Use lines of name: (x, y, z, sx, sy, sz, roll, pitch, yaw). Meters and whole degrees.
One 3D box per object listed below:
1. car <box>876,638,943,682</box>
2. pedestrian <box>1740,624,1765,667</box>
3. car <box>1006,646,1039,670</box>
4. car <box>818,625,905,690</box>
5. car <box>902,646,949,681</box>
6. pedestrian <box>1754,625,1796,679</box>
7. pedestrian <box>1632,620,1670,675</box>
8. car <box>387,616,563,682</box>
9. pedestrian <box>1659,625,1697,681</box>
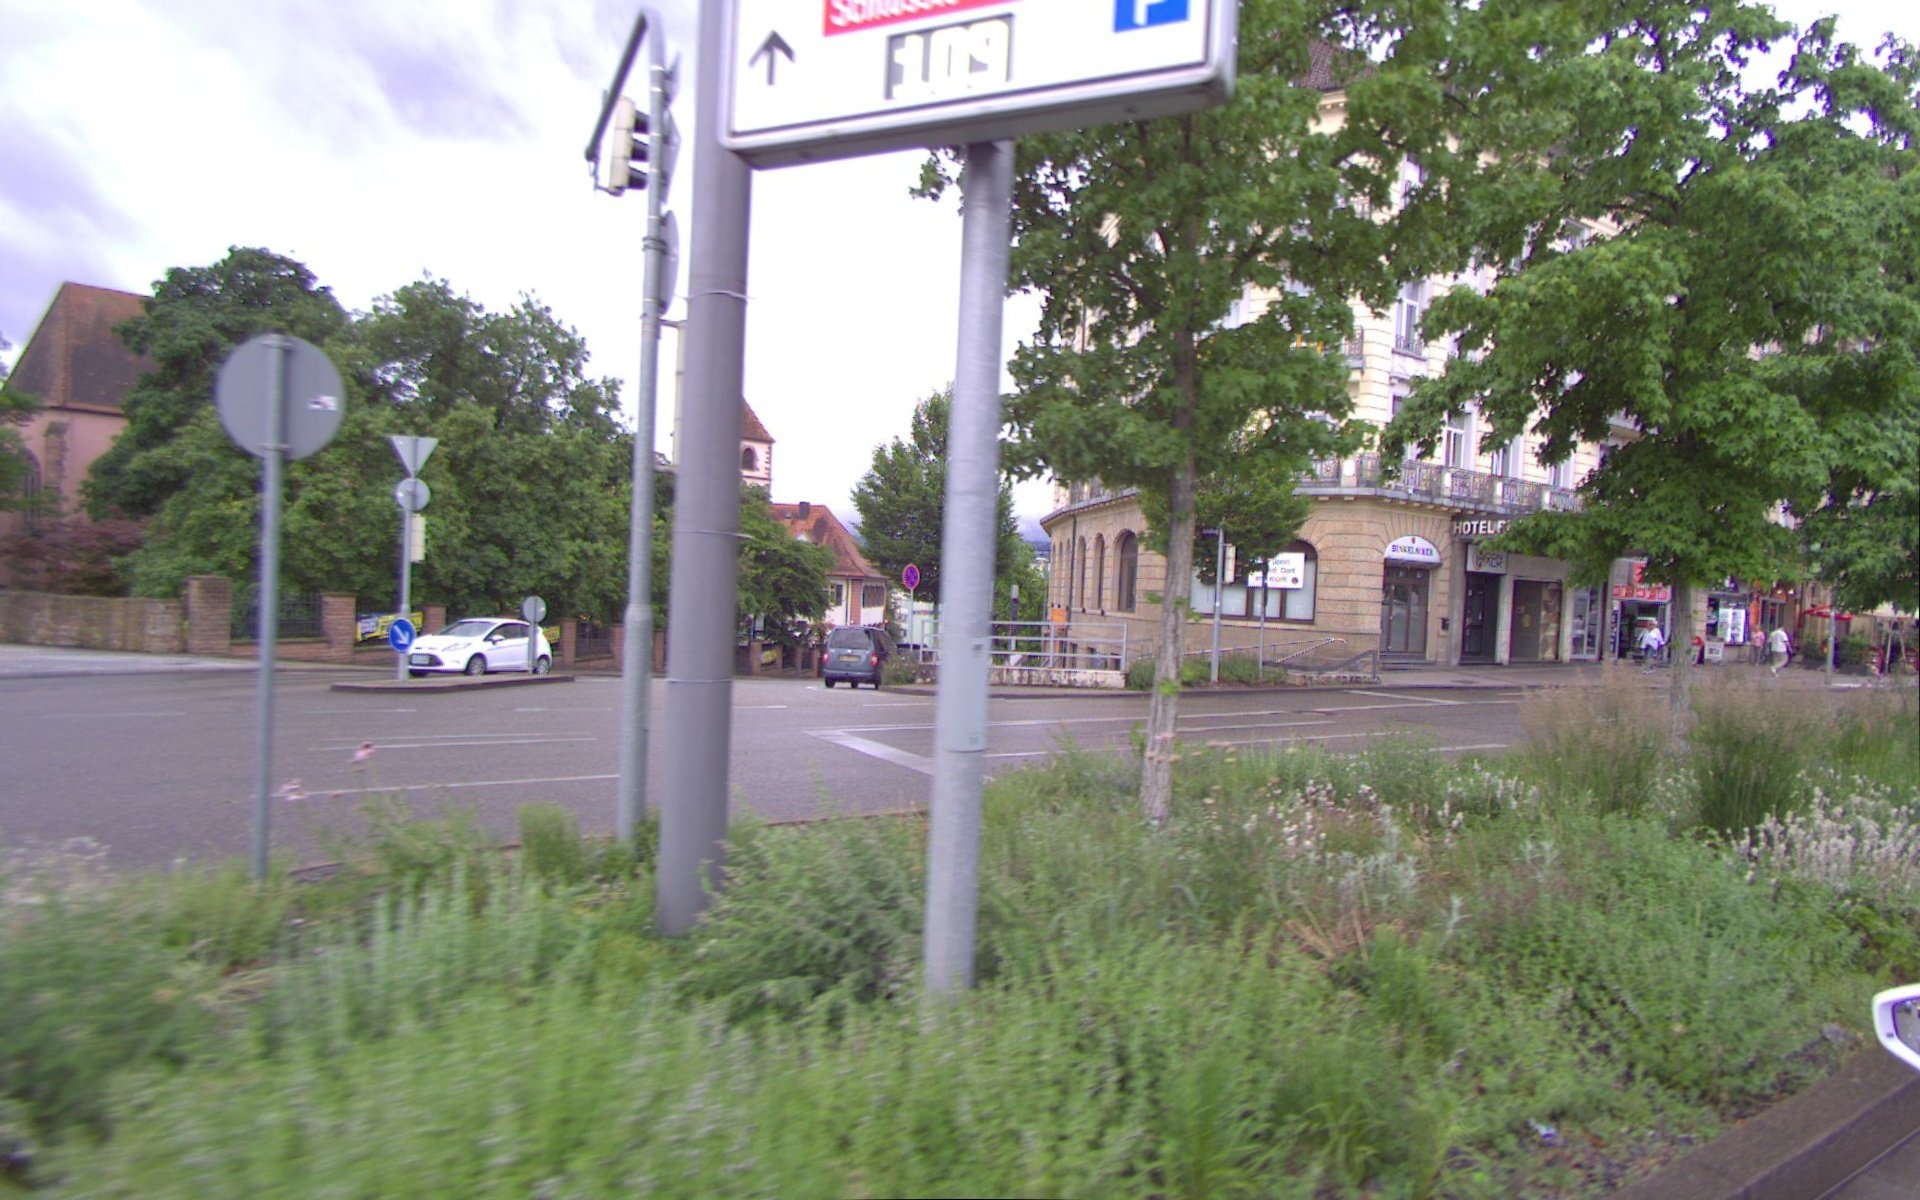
car: (-1.785, 2.155, 36.903, 1.602, 1.416, 4.003, 1, -1, 10)
pedestrian: (31.383, 1.801, 39.785, 0.532, 1.685, 0.661, 3, -2, -39)
car: (4.266, 3.938, 68.161, 1.734, 1.498, 4.003, 1, -2, 11)
car: (-2.920, 1.673, 30.543, 1.602, 1.782, 4.003, 1, -1, 10)
car: (-1.638, 3.027, 48.473, 1.734, 1.498, 4.013, 1, -2, 5)
pedestrian: (28.293, 1.826, 34.870, 0.742, 1.836, 0.875, 2, -5, -30)
pedestrian: (21.619, 1.495, 31.417, 0.797, 1.685, 0.679, 2, -2, -28)
car: (-11.514, 1.160, 24.164, 1.602, 1.416, 4.003, 1, -2, 13)
pedestrian: (22.015, 1.636, 30.800, 0.798, 1.685, 0.678, 2, -2, -30)
